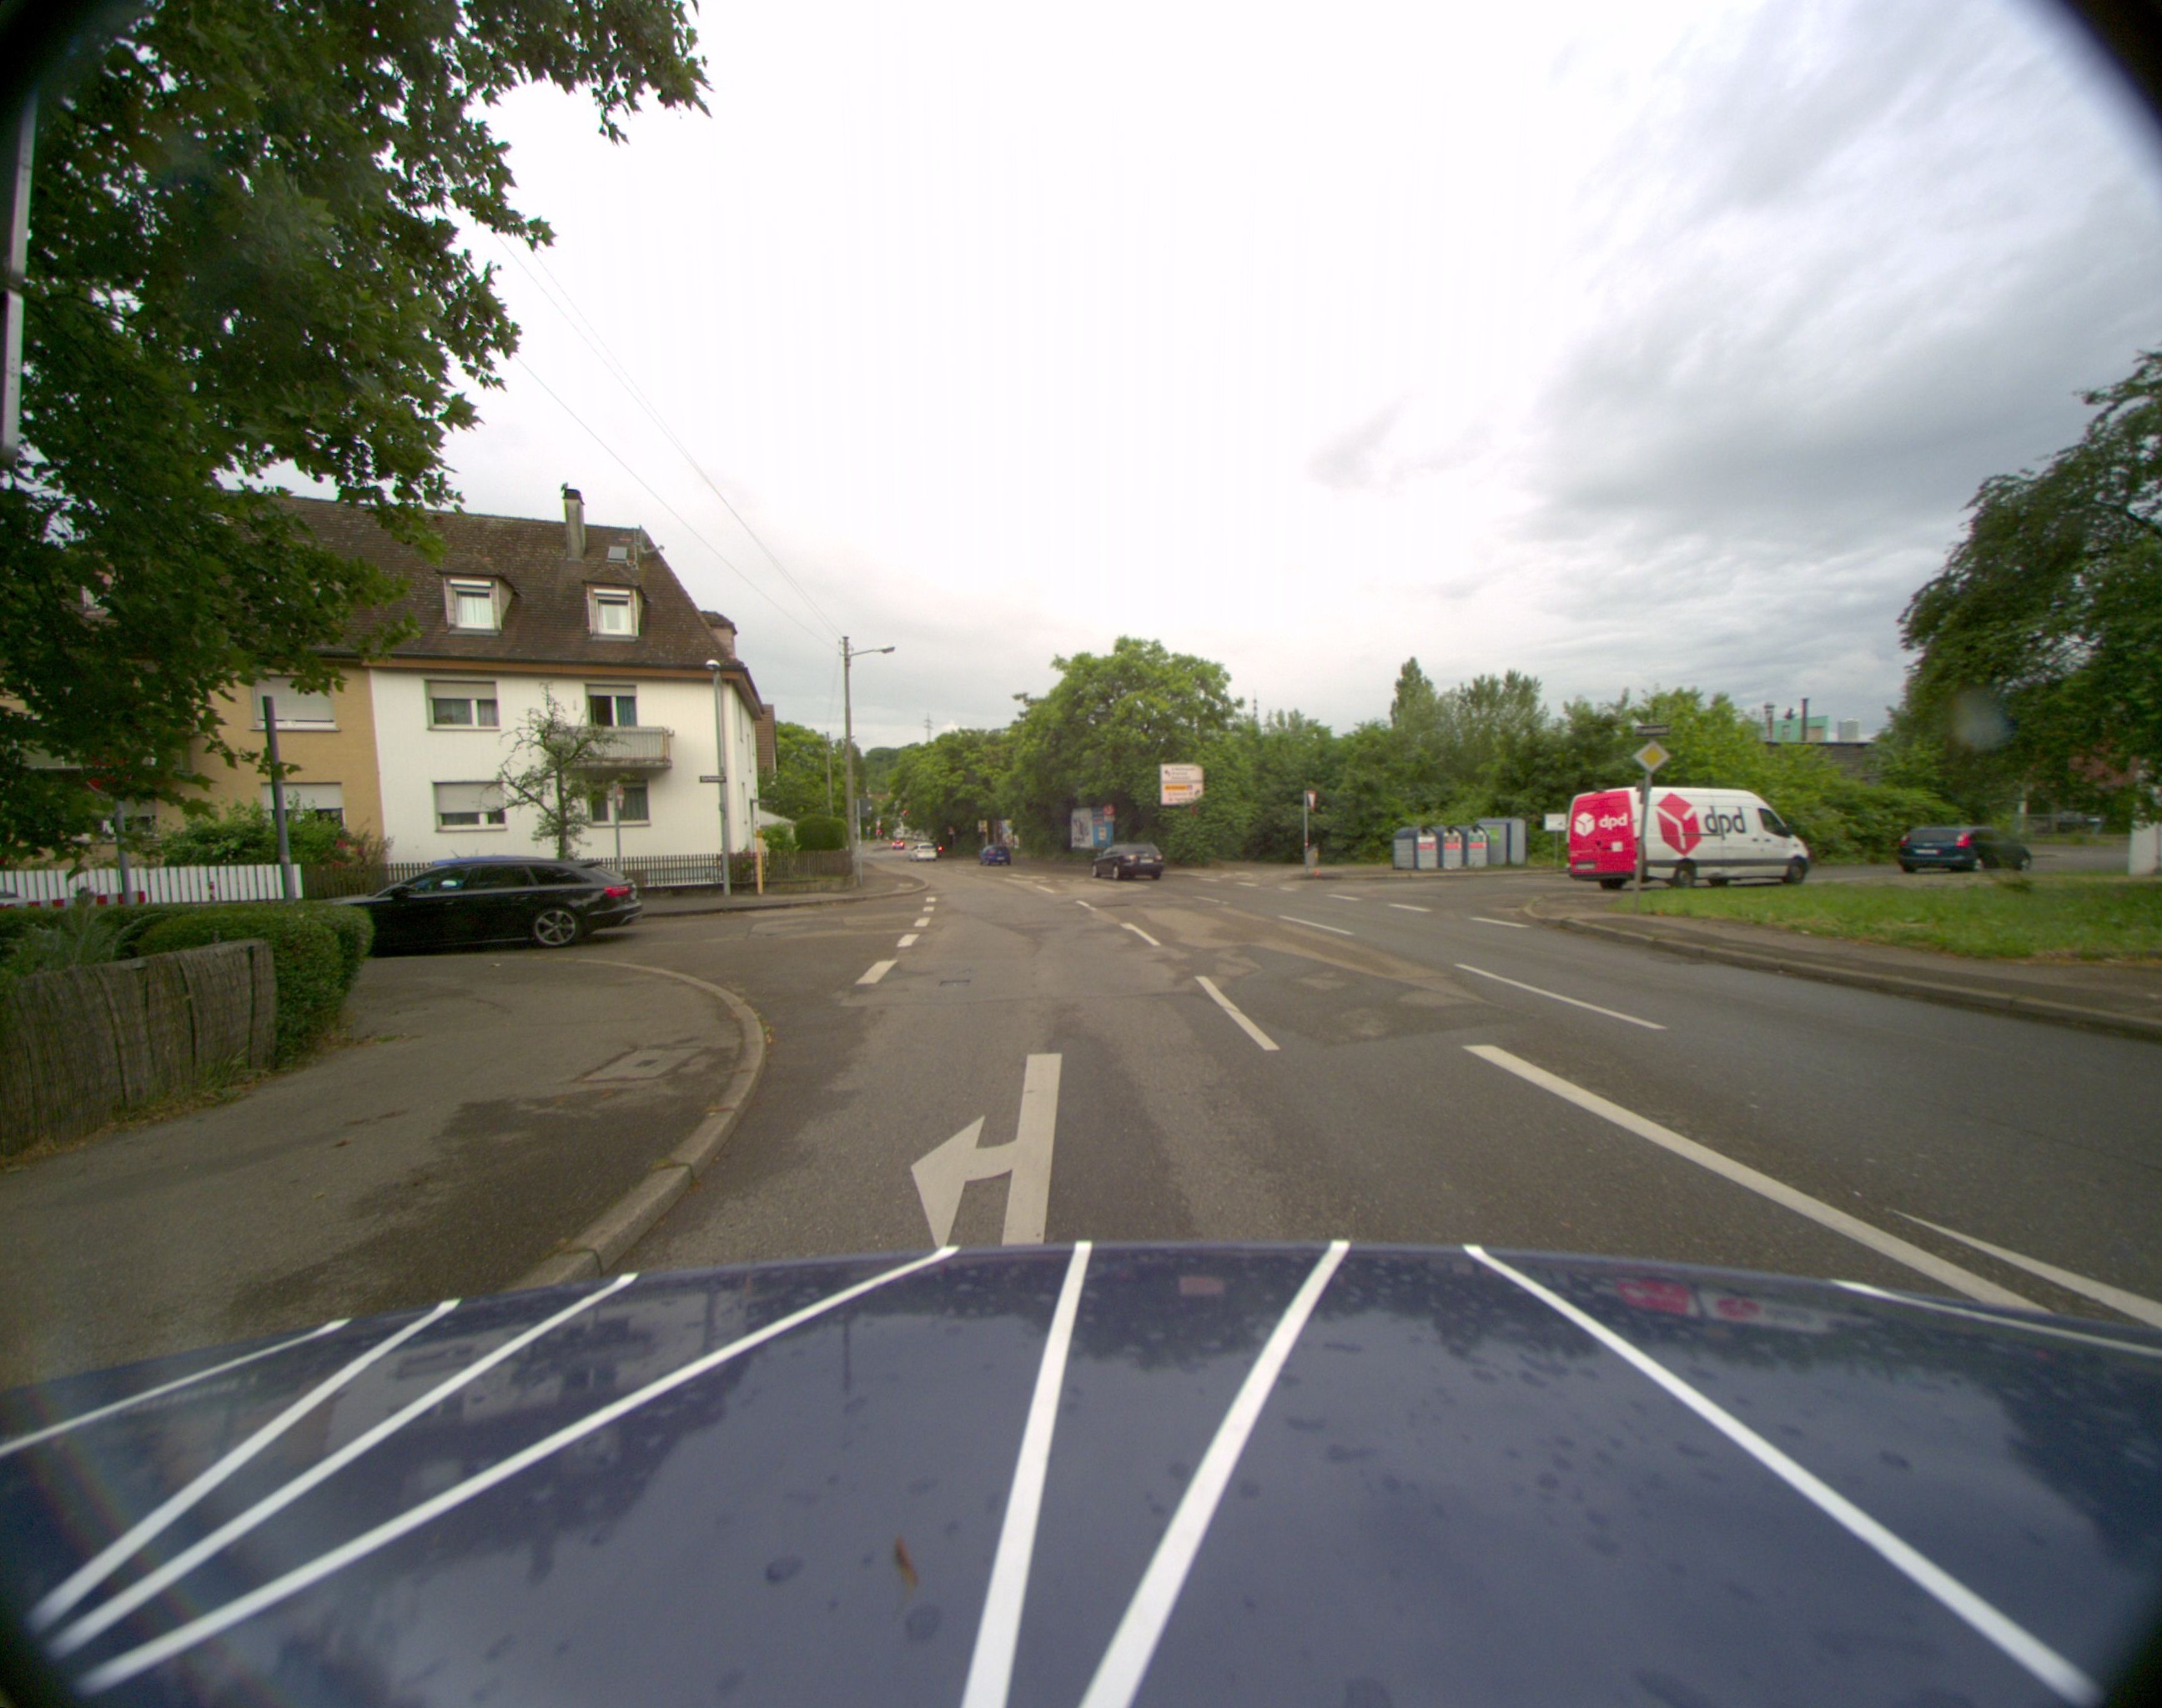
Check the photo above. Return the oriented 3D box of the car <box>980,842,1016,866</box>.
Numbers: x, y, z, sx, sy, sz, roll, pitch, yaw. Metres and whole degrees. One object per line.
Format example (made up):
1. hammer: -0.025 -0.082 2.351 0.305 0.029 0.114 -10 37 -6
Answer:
1. car: -5.799 -0.030 52.697 1.604 1.418 3.689 -3 3 -19

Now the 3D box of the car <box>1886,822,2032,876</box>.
1. car: 30.139 -0.210 26.090 4.257 1.620 1.996 -3 2 -22

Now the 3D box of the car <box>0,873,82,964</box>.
1. car: -19.474 1.118 12.172 3.788 1.445 1.769 -2 1 -20

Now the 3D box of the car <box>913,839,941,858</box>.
1. car: -14.009 -0.471 68.988 1.839 1.569 4.327 -1 -1 -20

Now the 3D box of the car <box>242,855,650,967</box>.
1. car: -10.058 0.810 12.627 4.824 1.472 1.882 -1 1 -24

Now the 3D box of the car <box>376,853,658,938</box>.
1. car: -11.125 0.758 15.366 4.130 1.472 1.883 -1 1 -17

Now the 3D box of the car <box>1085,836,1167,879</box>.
1. car: 1.731 0.111 30.686 1.849 1.560 4.405 -2 1 -17

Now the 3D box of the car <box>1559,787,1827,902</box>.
1. car: 16.162 -0.352 20.045 6.829 2.641 2.258 -2 2 -20

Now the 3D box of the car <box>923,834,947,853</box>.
1. car: -15.704 -1.165 81.615 1.965 1.920 4.676 -2 1 -17

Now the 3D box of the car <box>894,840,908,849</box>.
1. car: -32.331 -1.719 136.290 1.903 1.453 3.992 -2 1 -19
